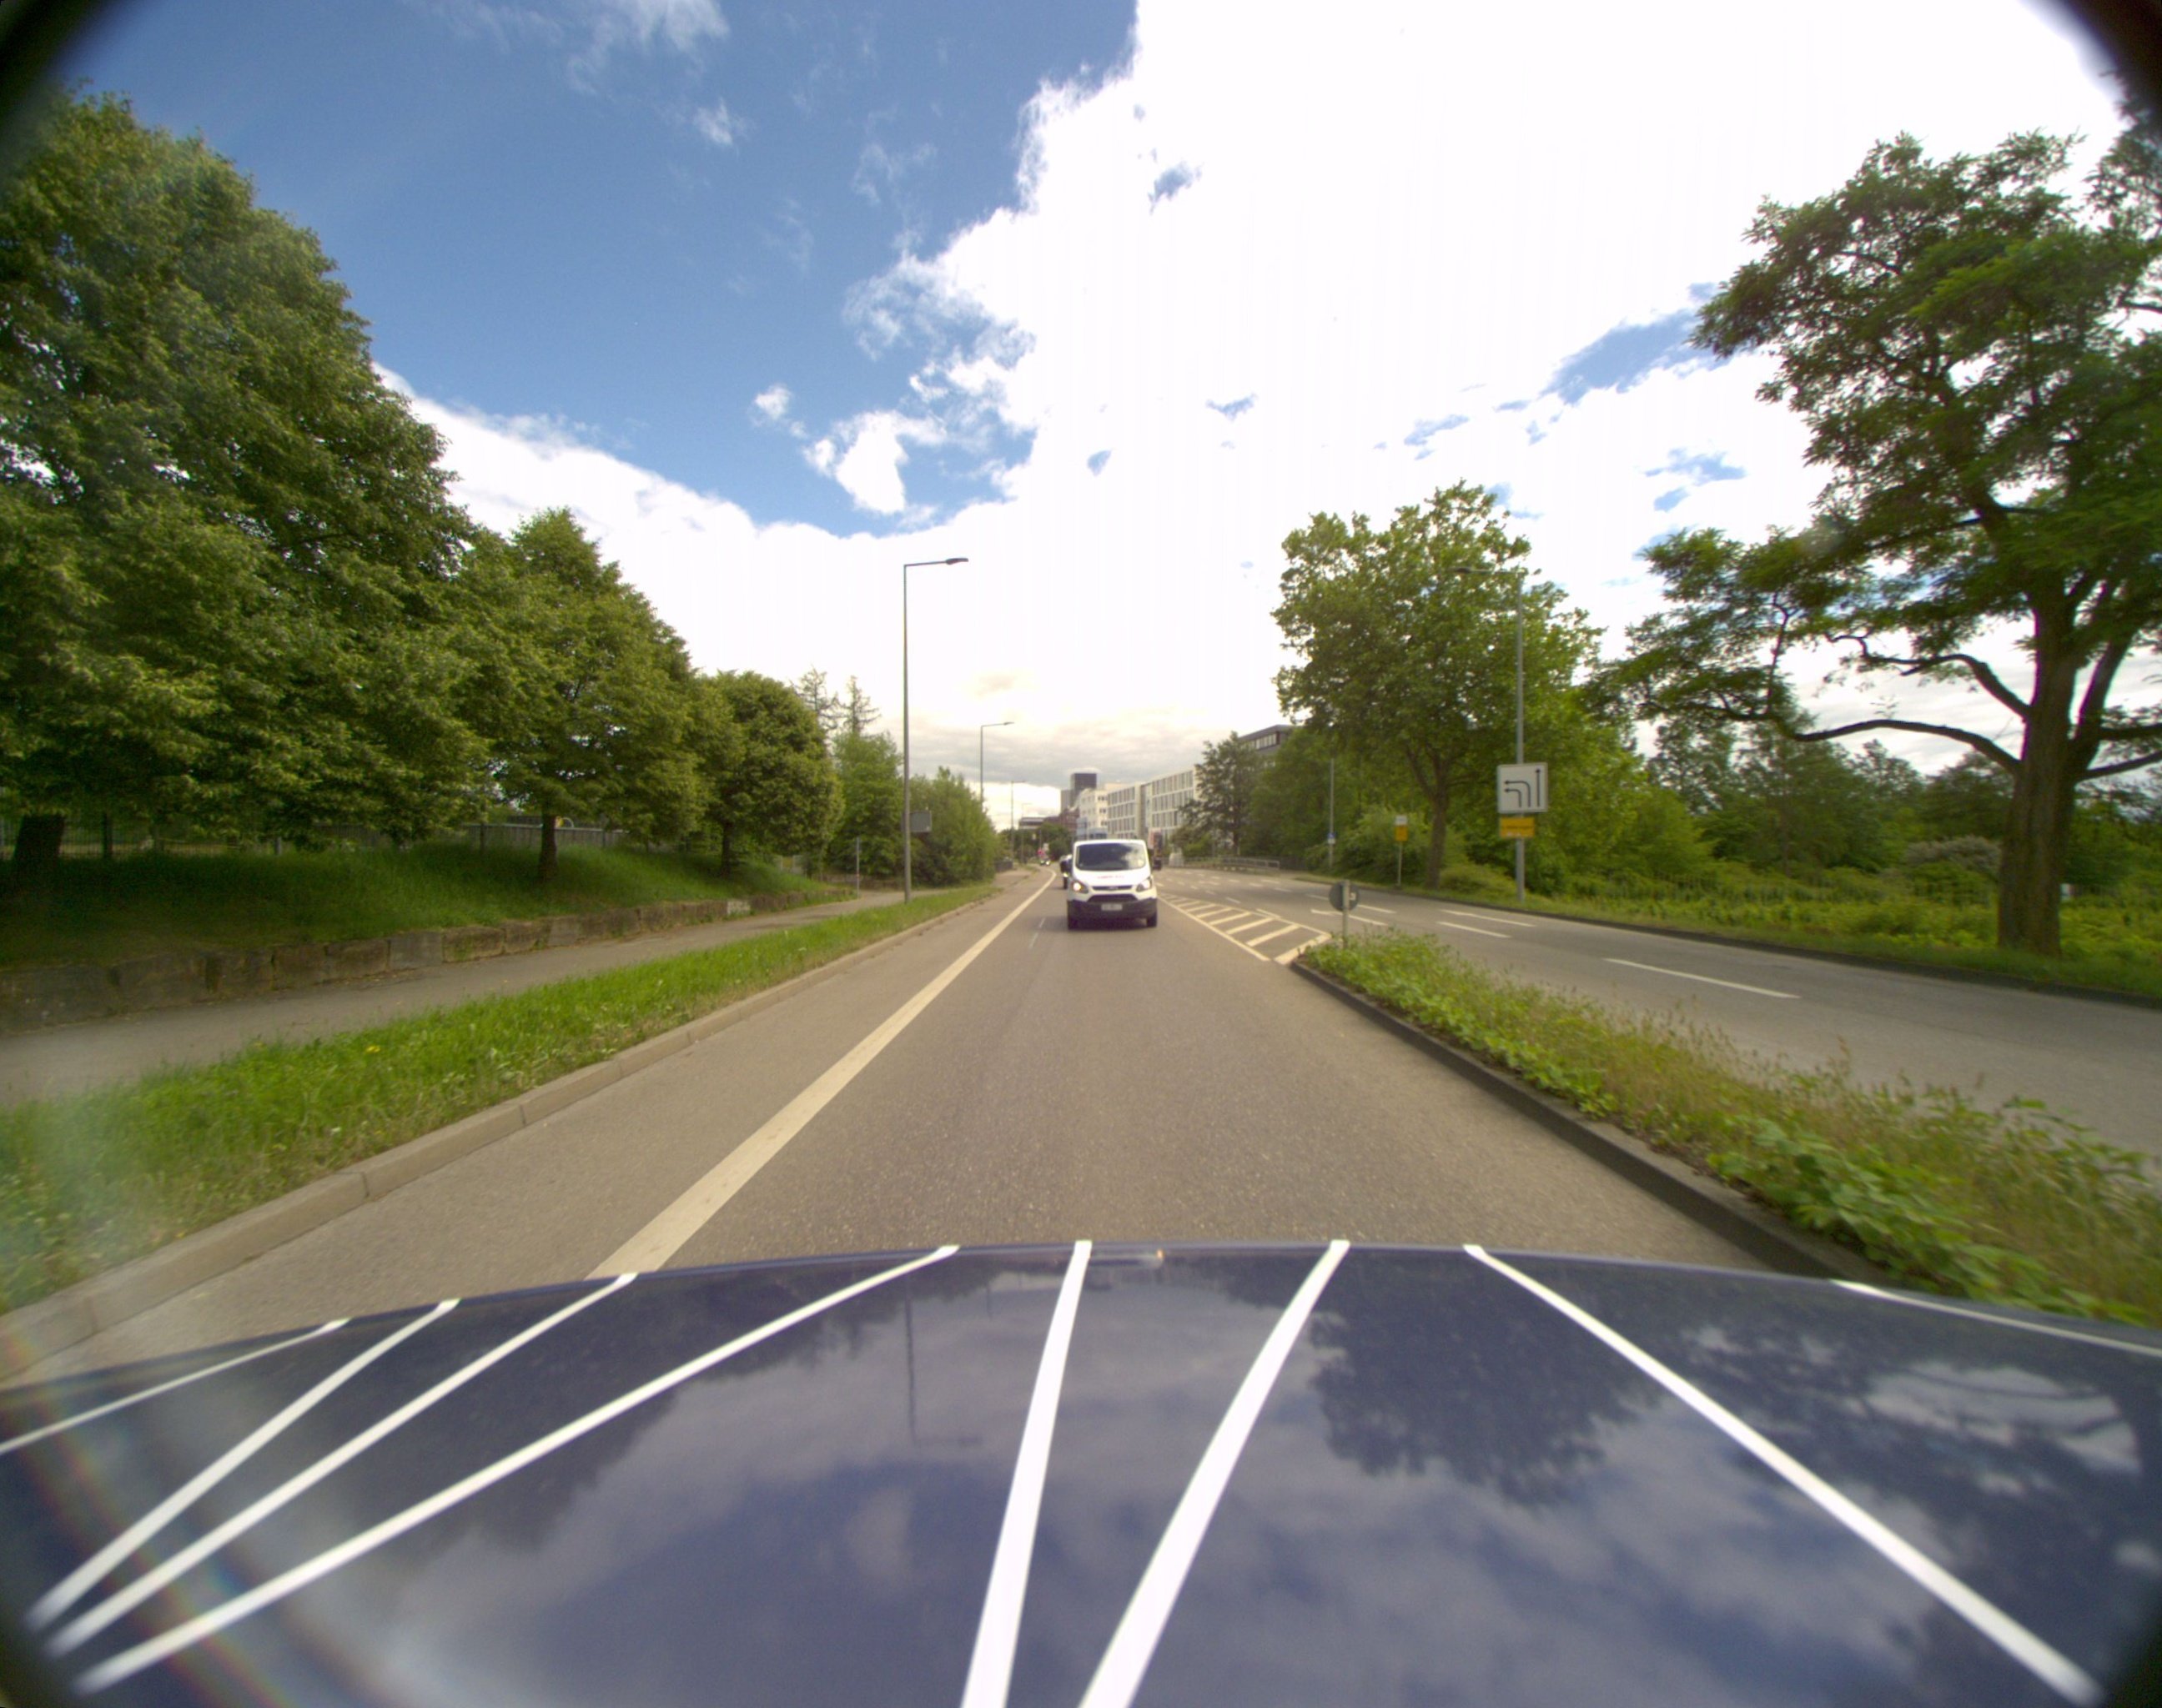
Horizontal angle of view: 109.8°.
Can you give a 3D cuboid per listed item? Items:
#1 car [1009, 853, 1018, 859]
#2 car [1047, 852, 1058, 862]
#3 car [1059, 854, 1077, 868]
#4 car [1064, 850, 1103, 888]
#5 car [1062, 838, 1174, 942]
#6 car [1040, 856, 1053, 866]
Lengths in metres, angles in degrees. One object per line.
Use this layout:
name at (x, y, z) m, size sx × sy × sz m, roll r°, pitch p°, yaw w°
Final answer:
car at (-16.666, 0.407, 187.402) m, size 1.737 × 1.432 × 4.363 m, roll -2°, pitch 0°, yaw -13°
car at (-5.169, 0.539, 138.351) m, size 1.873 × 1.685 × 4.369 m, roll -2°, pitch 0°, yaw -5°
car at (-1.663, 0.838, 96.090) m, size 1.873 × 1.685 × 4.369 m, roll -2°, pitch 0°, yaw -5°
car at (0.098, 0.739, 40.131) m, size 1.872 × 1.836 × 4.370 m, roll -2°, pitch 0°, yaw -1°
car at (0.698, 0.677, 17.887) m, size 2.122 × 1.963 × 6.206 m, roll -2°, pitch 0°, yaw 0°
car at (-6.732, 1.318, 146.809) m, size 1.874 × 1.685 × 4.367 m, roll -2°, pitch 0°, yaw -11°
